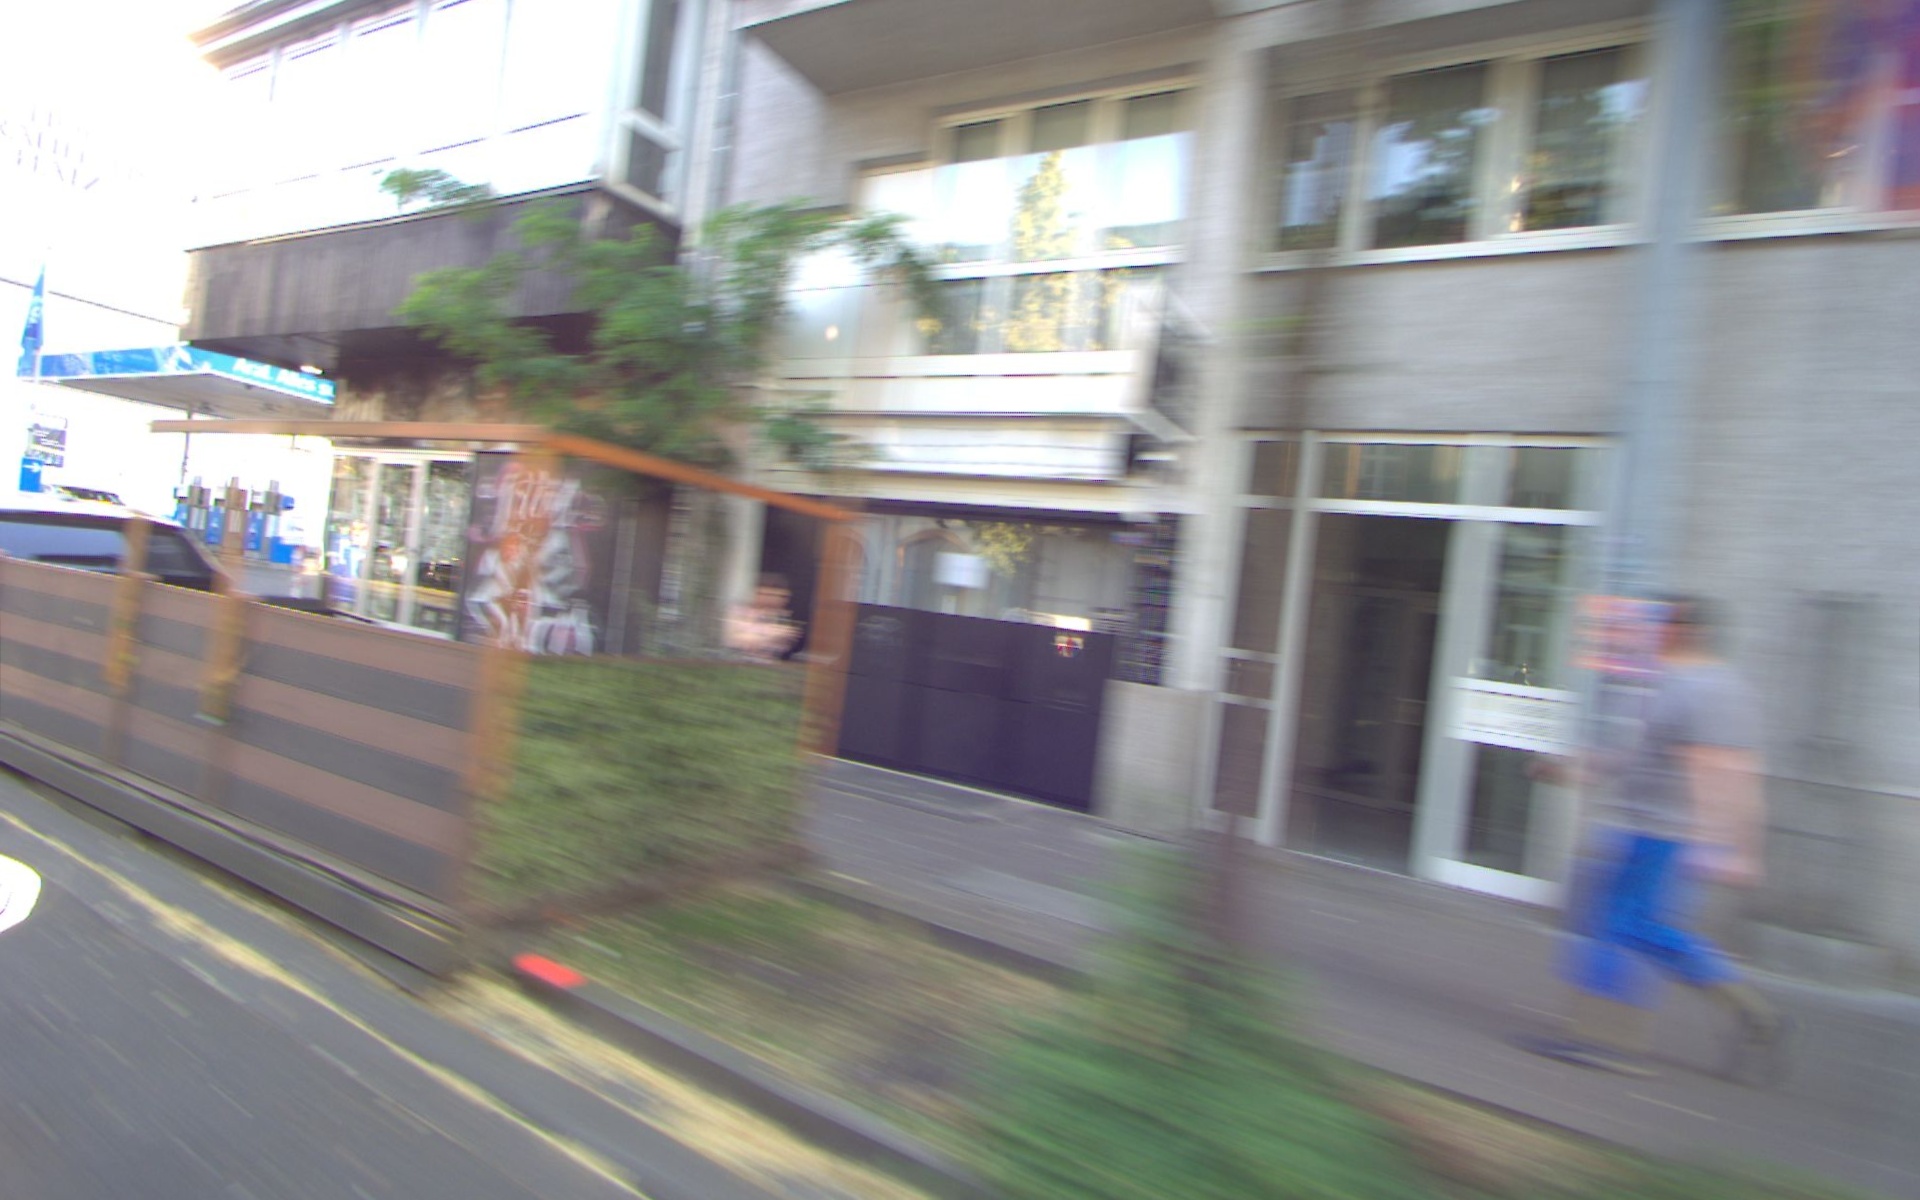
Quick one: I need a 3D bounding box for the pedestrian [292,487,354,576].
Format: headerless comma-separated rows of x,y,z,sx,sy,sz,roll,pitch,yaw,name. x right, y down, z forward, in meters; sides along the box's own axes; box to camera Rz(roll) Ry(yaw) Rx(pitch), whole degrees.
-22.705,-2.439,35.847,1.148,2.942,1.210,6,-1,31,pedestrian

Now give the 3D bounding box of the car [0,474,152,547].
-22.306,-2.256,25.103,4.827,1.448,1.736,6,0,31,car

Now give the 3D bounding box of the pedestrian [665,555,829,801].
-1.476,0.518,6.984,0.760,1.545,0.611,7,1,31,pedestrian

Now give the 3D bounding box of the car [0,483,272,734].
-7.574,-0.158,7.703,4.766,1.507,1.830,7,2,29,car

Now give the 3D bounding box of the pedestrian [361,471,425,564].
-19.242,-2.785,34.147,1.148,2.942,1.210,6,-1,31,pedestrian

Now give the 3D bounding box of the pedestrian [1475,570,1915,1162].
2.642,0.869,3.799,0.978,1.817,0.858,7,1,23,pedestrian
